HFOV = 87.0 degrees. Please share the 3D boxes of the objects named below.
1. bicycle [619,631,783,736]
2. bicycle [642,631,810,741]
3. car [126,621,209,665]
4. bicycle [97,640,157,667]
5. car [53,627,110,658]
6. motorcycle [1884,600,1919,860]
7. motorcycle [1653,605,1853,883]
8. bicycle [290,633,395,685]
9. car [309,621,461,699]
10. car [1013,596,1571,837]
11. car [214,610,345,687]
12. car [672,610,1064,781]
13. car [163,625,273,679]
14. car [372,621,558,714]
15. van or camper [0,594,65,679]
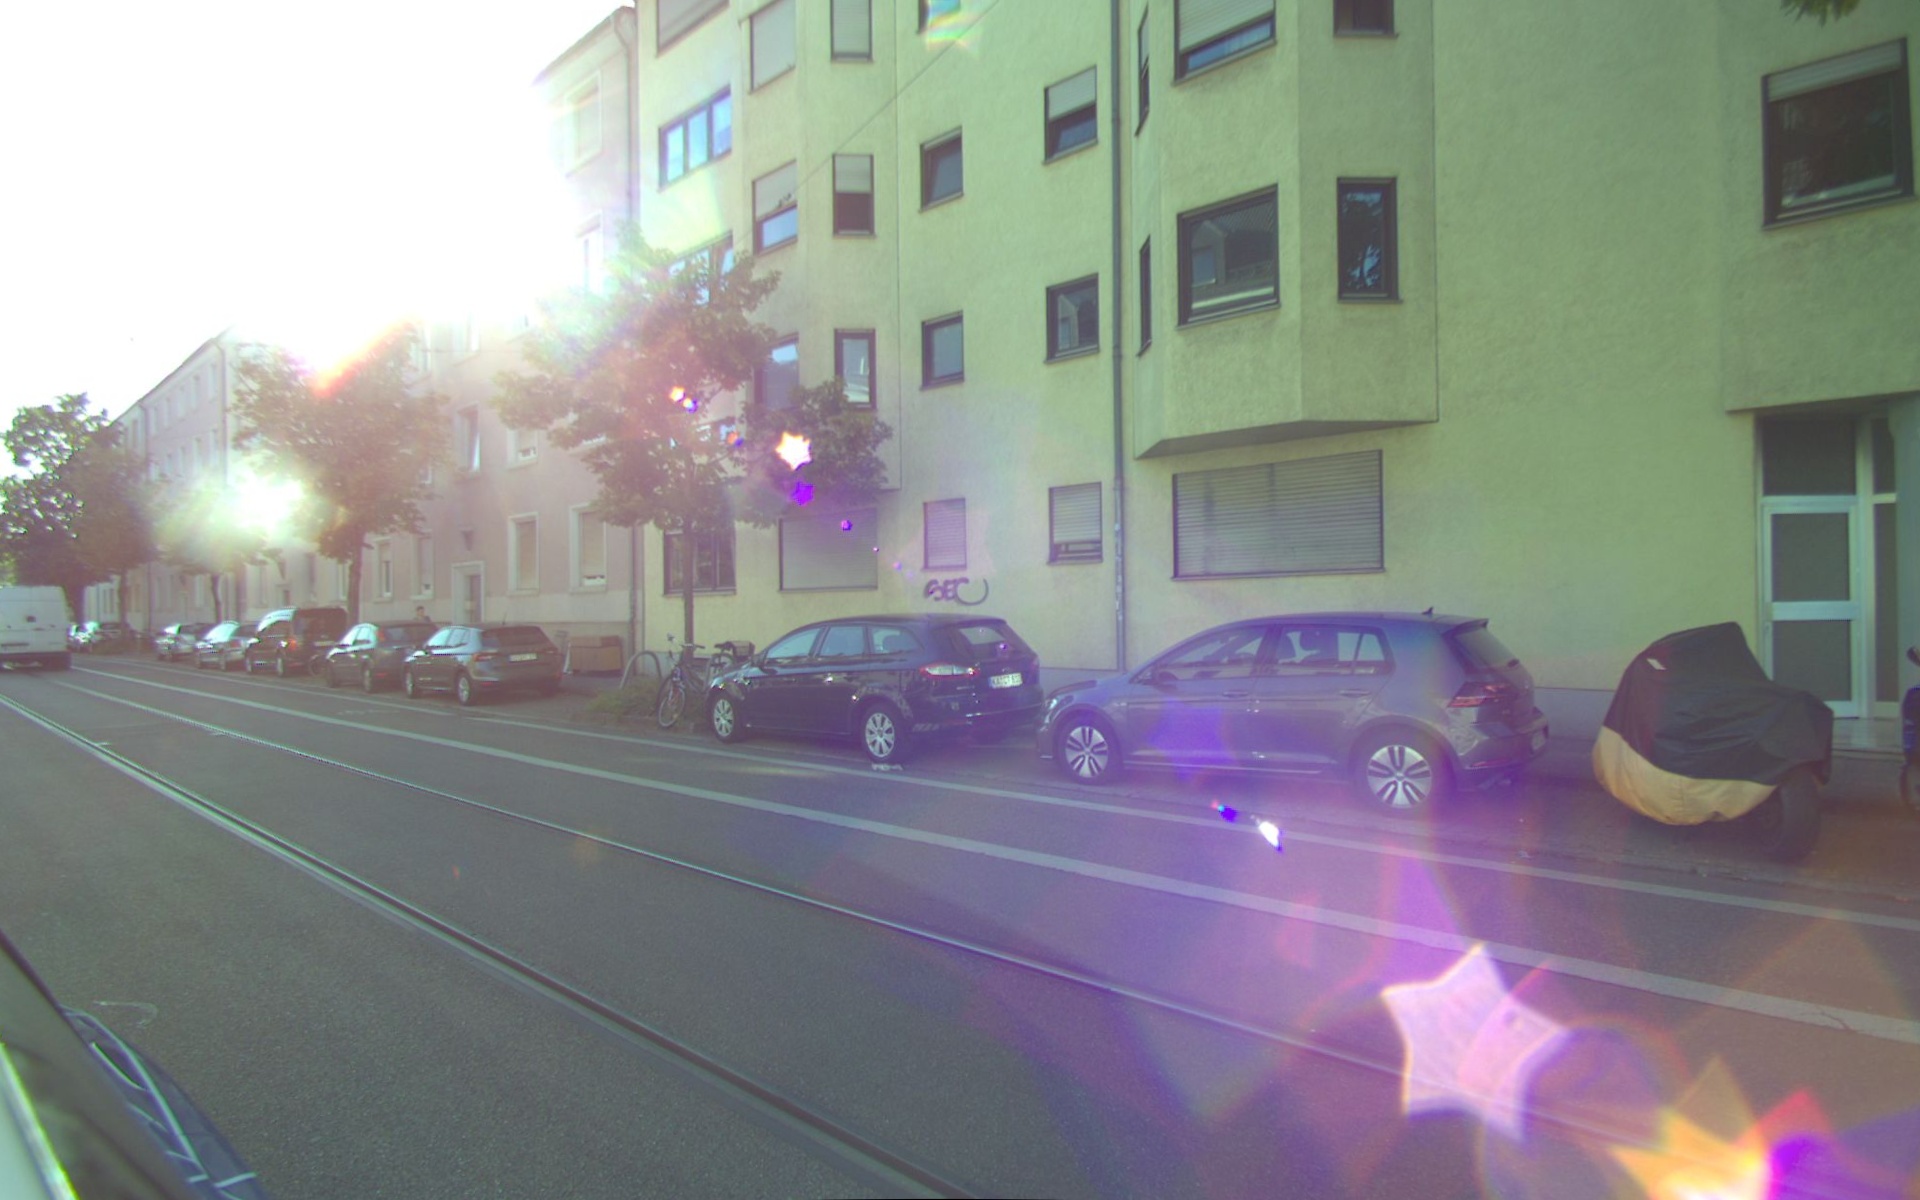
[{"bbox_3d":[-3.675,1.142,14.525,0.699,1.344,2.268,-2,-1,42],"label":"bicycle"},{"bbox_3d":[-3.188,1.133,13.998,0.699,1.344,2.268,-2,-1,42],"label":"bicycle"},{"bbox_3d":[-29.414,1.566,37.505,4.752,1.484,1.746,-2,-1,43],"label":"car"},{"bbox_3d":[-39.108,2.491,47.539,0.535,1.151,2.123,-2,-1,38],"label":"bicycle"},{"bbox_3d":[-46.837,2.238,53.939,4.044,1.563,1.667,-2,-1,39],"label":"car"},{"bbox_3d":[5.640,0.723,5.438,0.719,1.458,1.951,-2,-1,35],"label":"motorcycle"},{"bbox_3d":[4.898,0.768,6.368,0.834,1.458,1.951,-2,-1,35],"label":"motorcycle"},{"bbox_3d":[-15.537,1.453,25.522,0.746,1.113,2.090,-2,2,40],"label":"bicycle"},{"bbox_3d":[-12.941,1.277,22.672,4.181,1.484,1.746,-2,2,43],"label":"car"},{"bbox_3d":[2.619,0.795,8.527,4.124,1.554,1.718,-2,-1,39],"label":"car"},{"bbox_3d":[-18.697,1.287,27.741,4.420,1.859,1.748,-2,1,40],"label":"car"},{"bbox_3d":[-1.239,0.934,11.582,4.733,1.554,1.746,-2,-1,43],"label":"car"},{"bbox_3d":[-22.919,1.548,31.171,4.856,1.484,1.746,-2,-1,42],"label":"car"},{"bbox_3d":[-9.528,1.215,19.353,4.040,1.484,1.747,-2,2,42],"label":"car"},{"bbox_3d":[-31.184,1.165,32.791,6.829,2.572,2.345,-2,-1,40],"label":"van or camper"}]
